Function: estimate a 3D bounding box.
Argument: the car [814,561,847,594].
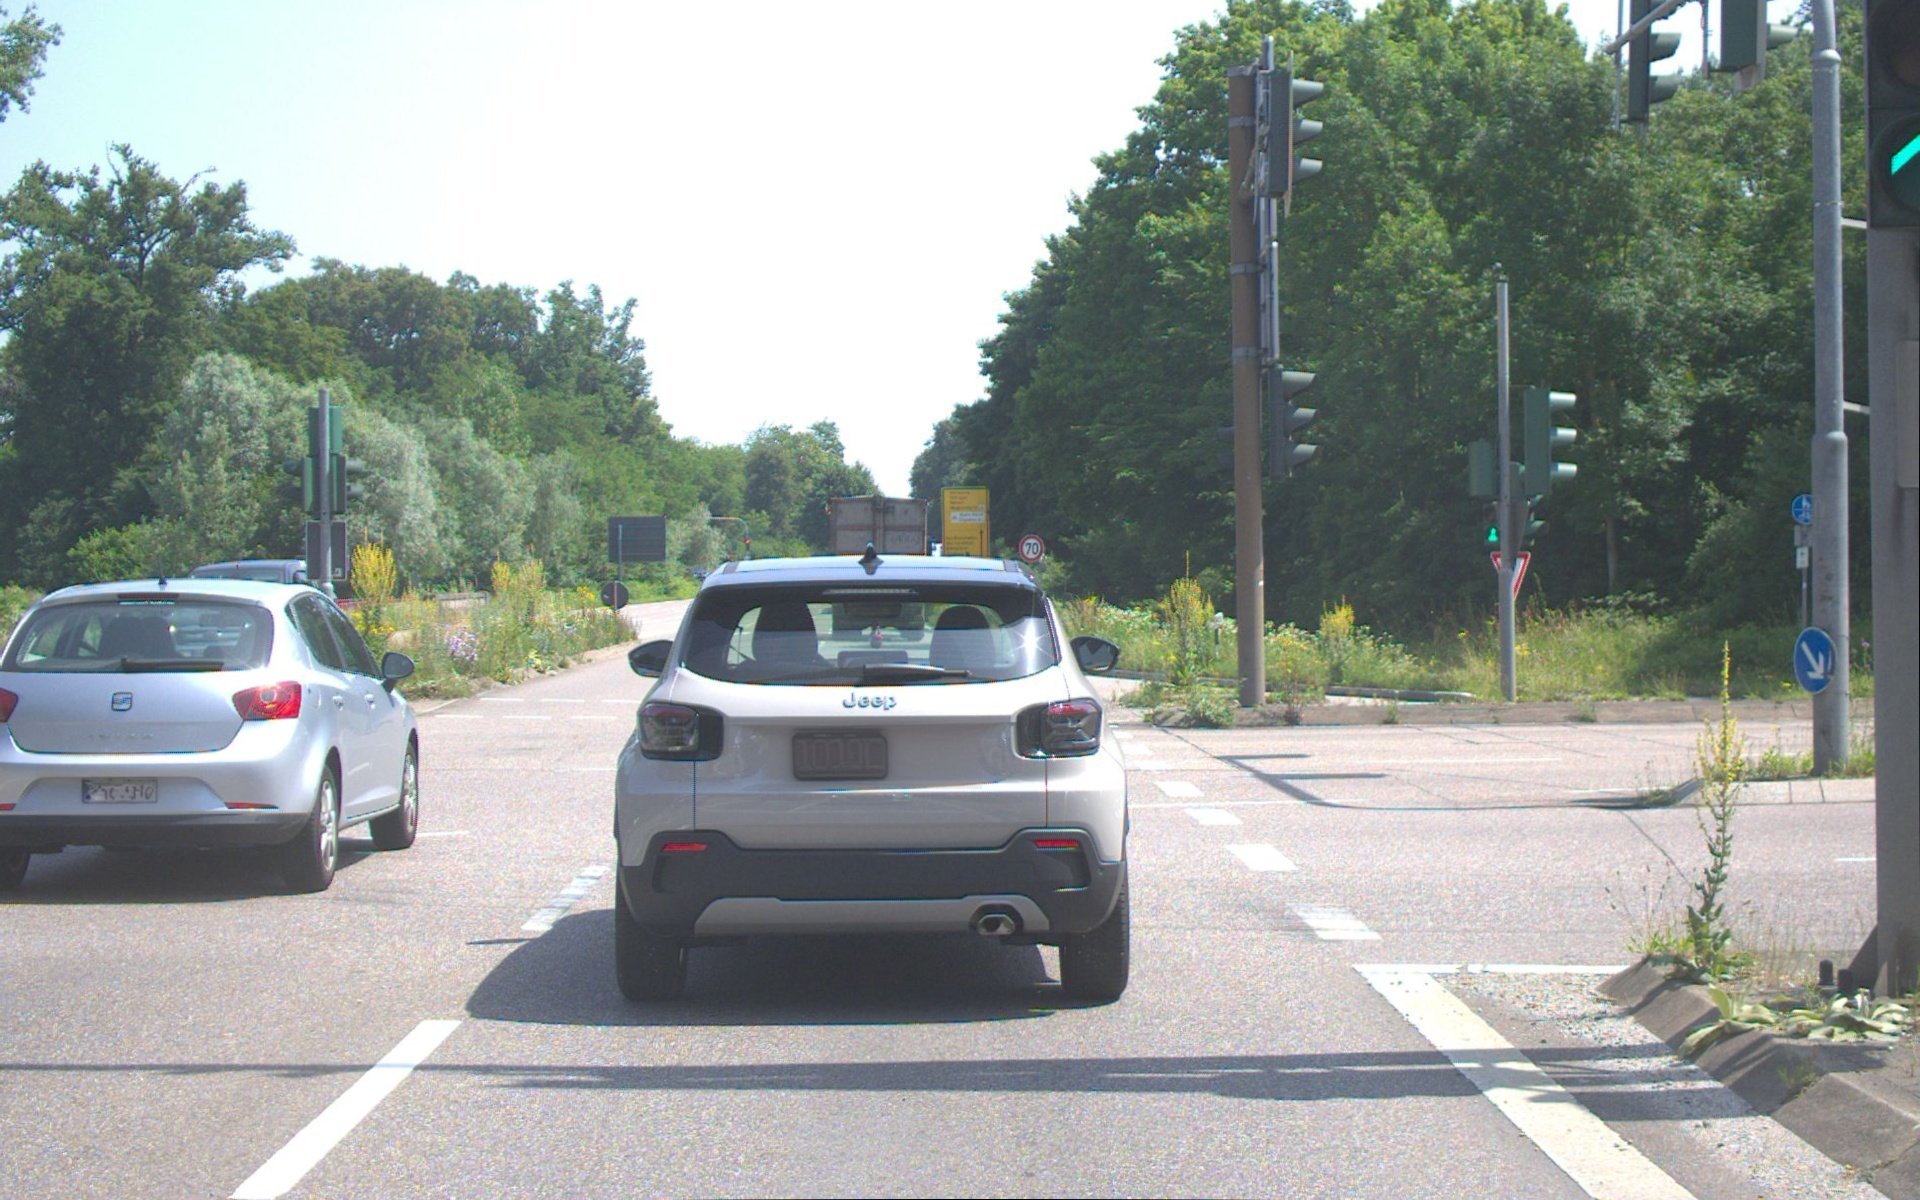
[{"bbox_3d":[-8.075,-1.425,214.802,1.993,2.007,4.554,-1,0,-2],"label":"car"}]

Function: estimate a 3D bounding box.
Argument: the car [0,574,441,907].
[{"bbox_3d":[-3.687,0.599,16.936,1.665,1.425,3.828,1,0,0],"label":"car"}]

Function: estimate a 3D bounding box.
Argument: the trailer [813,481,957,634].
[{"bbox_3d":[-1.973,-1.126,96.079,3.383,3.975,10.803,1,0,2],"label":"trailer"}]

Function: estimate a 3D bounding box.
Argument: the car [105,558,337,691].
[{"bbox_3d":[-10.117,0.298,47.469,1.993,1.672,5.365,-2,0,0],"label":"car"}]

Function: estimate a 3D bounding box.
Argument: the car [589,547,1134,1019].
[{"bbox_3d":[-0.320,0.577,13.172,1.767,1.529,4.000,0,0,0],"label":"car"}]

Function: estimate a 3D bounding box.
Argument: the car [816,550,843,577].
[{"bbox_3d":[-9.865,-2.775,259.992,1.774,2.007,4.000,-1,1,0],"label":"car"}]
